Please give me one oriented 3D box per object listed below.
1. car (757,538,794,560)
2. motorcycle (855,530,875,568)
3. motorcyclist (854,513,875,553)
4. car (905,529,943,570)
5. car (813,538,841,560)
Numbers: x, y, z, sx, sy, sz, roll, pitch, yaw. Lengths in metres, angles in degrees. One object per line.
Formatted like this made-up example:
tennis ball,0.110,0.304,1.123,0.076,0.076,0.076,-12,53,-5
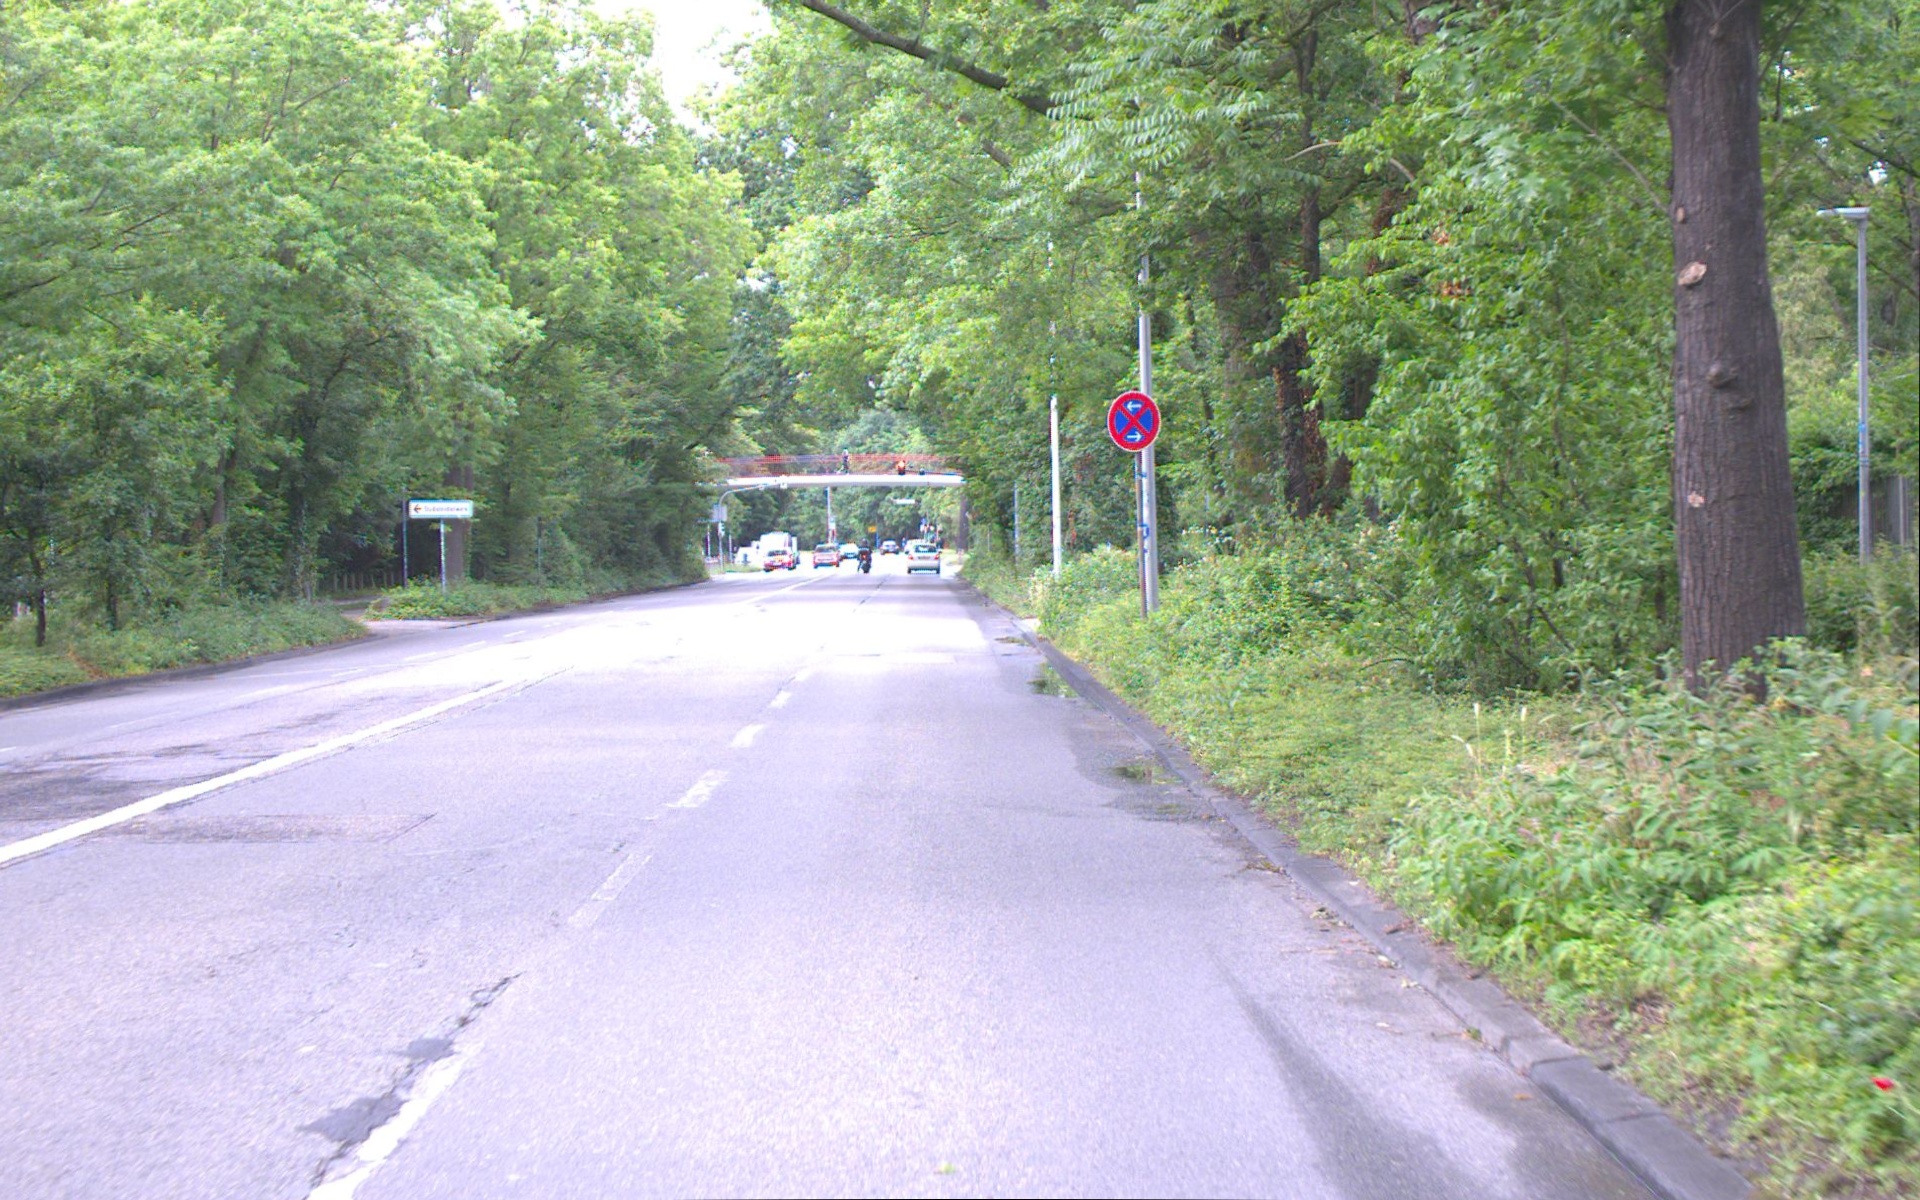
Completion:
car,-11.689,-3.207,217.457,1.993,1.349,3.894,0,1,2
motorcycle,-4.822,-2.589,174.139,0.990,1.929,2.669,0,1,-1
motorcyclist,-4.847,-3.397,173.973,1.063,2.007,0.843,0,1,-1
car,-1.775,-2.507,170.346,1.843,2.007,4.000,0,1,-1
car,-8.419,-3.227,217.448,1.674,1.357,3.922,0,1,-4
